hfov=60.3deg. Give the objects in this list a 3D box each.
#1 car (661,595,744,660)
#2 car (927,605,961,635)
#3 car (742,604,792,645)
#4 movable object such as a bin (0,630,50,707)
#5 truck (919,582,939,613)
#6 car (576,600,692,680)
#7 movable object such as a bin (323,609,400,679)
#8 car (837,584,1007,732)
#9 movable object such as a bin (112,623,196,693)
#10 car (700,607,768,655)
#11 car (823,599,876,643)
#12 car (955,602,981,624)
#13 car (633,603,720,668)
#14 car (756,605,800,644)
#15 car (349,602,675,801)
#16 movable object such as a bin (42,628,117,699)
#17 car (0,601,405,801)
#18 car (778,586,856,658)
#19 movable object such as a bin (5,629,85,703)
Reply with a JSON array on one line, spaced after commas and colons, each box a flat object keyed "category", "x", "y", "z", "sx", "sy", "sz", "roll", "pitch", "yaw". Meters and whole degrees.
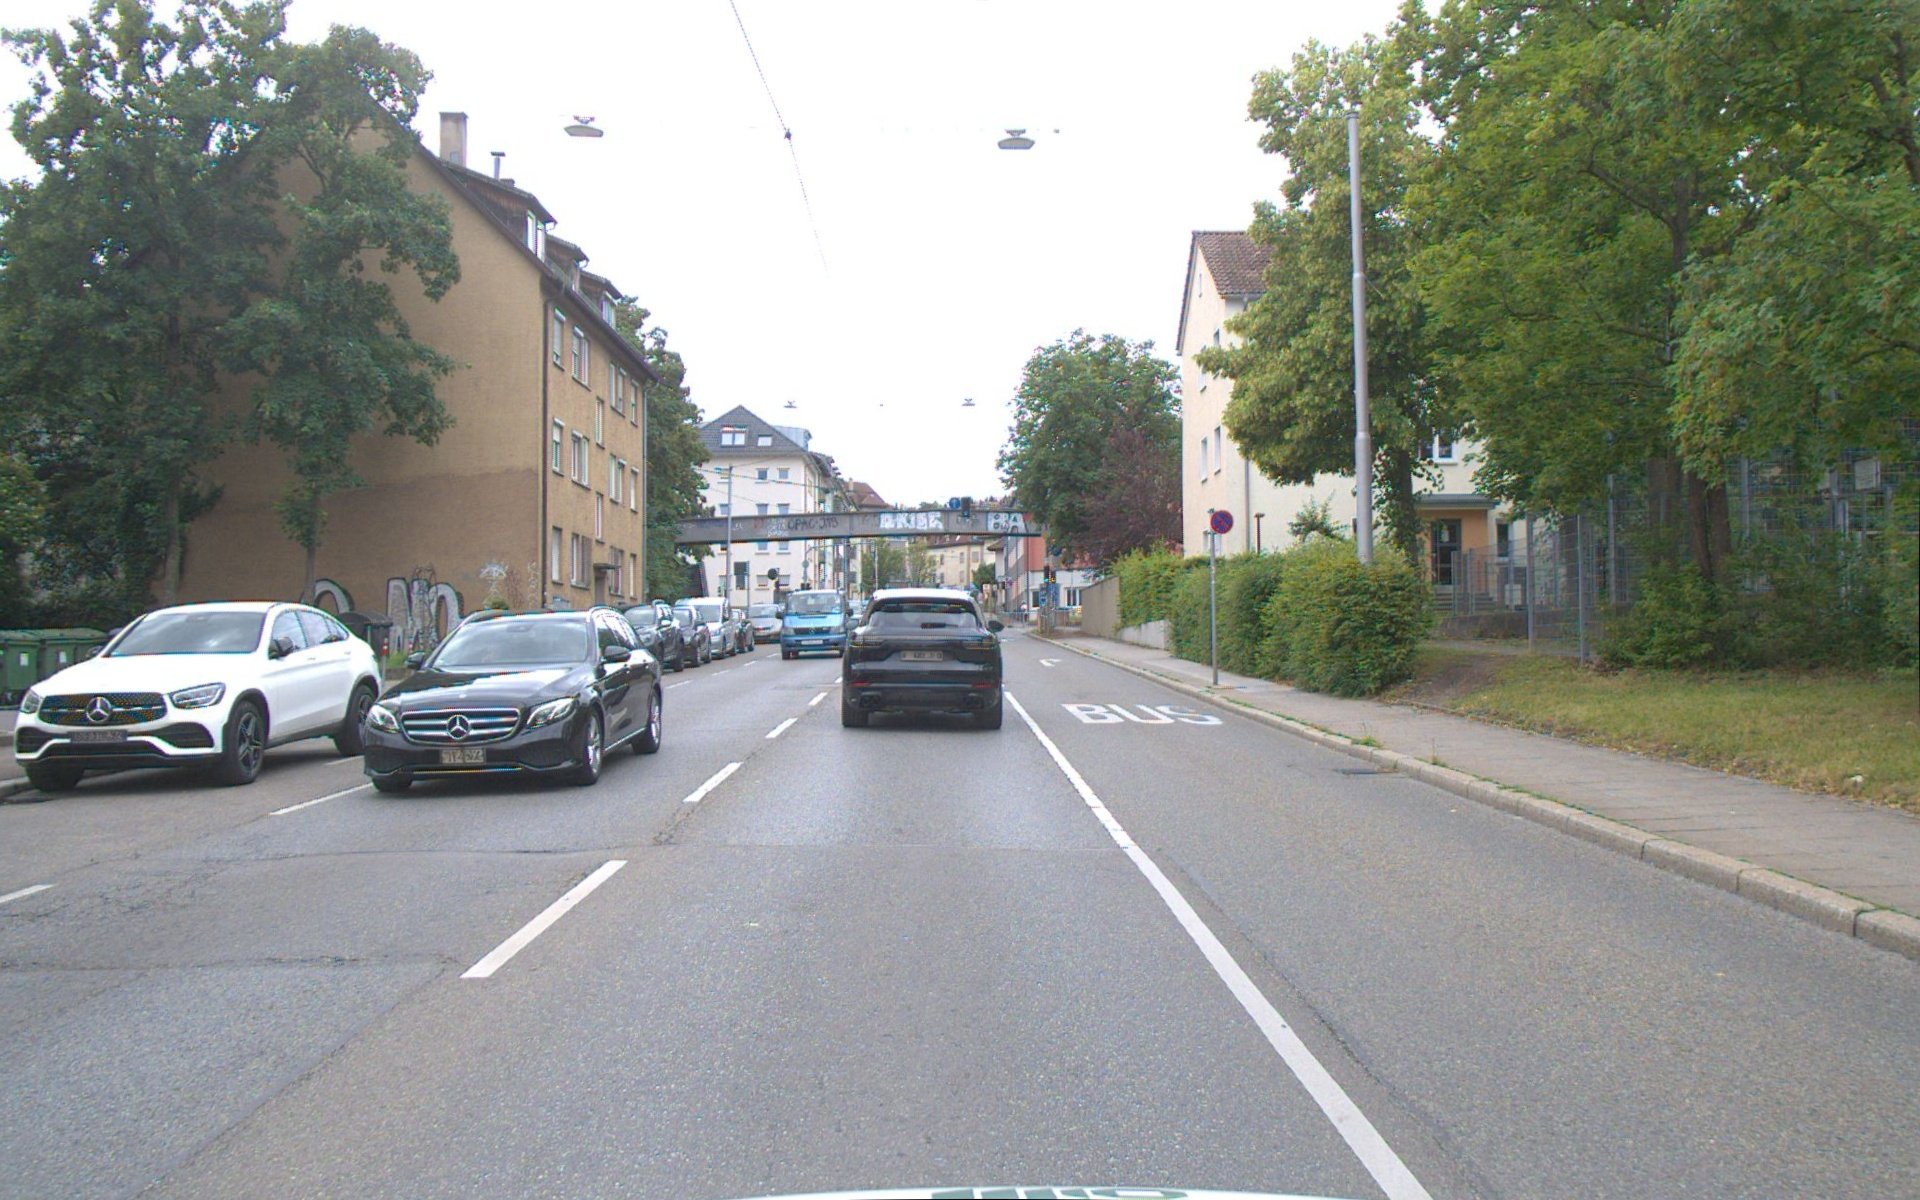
[{"category": "car", "x": -7.570, "y": 0.783, "z": 49.011, "sx": 1.740, "sy": 1.784, "sz": 4.556, "roll": -2, "pitch": 0, "yaw": -1}, {"category": "car", "x": -0.795, "y": 0.977, "z": 83.658, "sx": 1.706, "sy": 1.424, "sz": 4.000, "roll": 0, "pitch": 1, "yaw": 0}, {"category": "car", "x": -7.894, "y": 0.986, "z": 67.933, "sx": 1.711, "sy": 1.596, "sz": 3.906, "roll": -2, "pitch": 0, "yaw": -3}, {"category": "movable object such as a bin", "x": -18.521, "y": 1.317, "z": 32.171, "sx": 0.892, "sy": 1.453, "sz": 1.396, "roll": 0, "pitch": 0, "yaw": -3}, {"category": "truck", "x": -3.616, "y": -0.280, "z": 192.085, "sx": 2.220, "sy": 3.484, "sz": 9.876, "roll": -1, "pitch": 0, "yaw": -1}, {"category": "car", "x": -7.445, "y": 0.875, "z": 38.159, "sx": 1.746, "sy": 1.637, "sz": 4.264, "roll": -3, "pitch": 0, "yaw": 0}, {"category": "movable object such as a bin", "x": -12.737, "y": 0.917, "z": 35.253, "sx": 1.256, "sy": 1.453, "sz": 1.278, "roll": 0, "pitch": 0, "yaw": -5}, {"category": "car", "x": -0.453, "y": 0.647, "z": 21.040, "sx": 1.953, "sy": 1.691, "sz": 4.000, "roll": 0, "pitch": 1, "yaw": -1}, {"category": "movable object such as a bin", "x": -17.194, "y": 1.235, "z": 35.305, "sx": 1.365, "sy": 1.453, "sz": 0.912, "roll": 0, "pitch": 0, "yaw": -3}, {"category": "car", "x": -7.410, "y": 0.990, "z": 54.440, "sx": 1.710, "sy": 1.464, "sz": 3.912, "roll": -2, "pitch": 0, "yaw": -1}, {"category": "car", "x": -4.255, "y": 0.791, "z": 64.153, "sx": 1.802, "sy": 1.618, "sz": 4.163, "roll": -1, "pitch": 0, "yaw": -1}, {"category": "car", "x": 0.522, "y": 0.842, "z": 112.226, "sx": 1.706, "sy": 1.424, "sz": 4.000, "roll": 0, "pitch": 1, "yaw": 0}, {"category": "car", "x": -7.439, "y": 0.897, "z": 43.667, "sx": 1.716, "sy": 1.557, "sz": 4.097, "roll": -2, "pitch": 0, "yaw": -3}, {"category": "car", "x": -7.987, "y": 1.055, "z": 72.799, "sx": 1.502, "sy": 1.567, "sz": 3.981, "roll": -2, "pitch": 0, "yaw": -1}, {"category": "car", "x": -3.874, "y": 0.791, "z": 15.127, "sx": 1.741, "sy": 1.492, "sz": 4.498, "roll": -1, "pitch": 0, "yaw": 0}, {"category": "movable object such as a bin", "x": -18.643, "y": 1.334, "z": 35.048, "sx": 0.892, "sy": 1.453, "sz": 1.396, "roll": 0, "pitch": 0, "yaw": -3}, {"category": "car", "x": -7.129, "y": 0.835, "z": 16.052, "sx": 1.876, "sy": 1.605, "sz": 4.699, "roll": -1, "pitch": 0, "yaw": 0}, {"category": "car", "x": -4.049, "y": 0.584, "z": 47.381, "sx": 1.891, "sy": 1.934, "sz": 4.588, "roll": -1, "pitch": 0, "yaw": -1}, {"category": "movable object such as a bin", "x": -18.575, "y": 1.325, "z": 33.618, "sx": 0.892, "sy": 1.453, "sz": 1.396, "roll": 0, "pitch": 0, "yaw": -3}]
